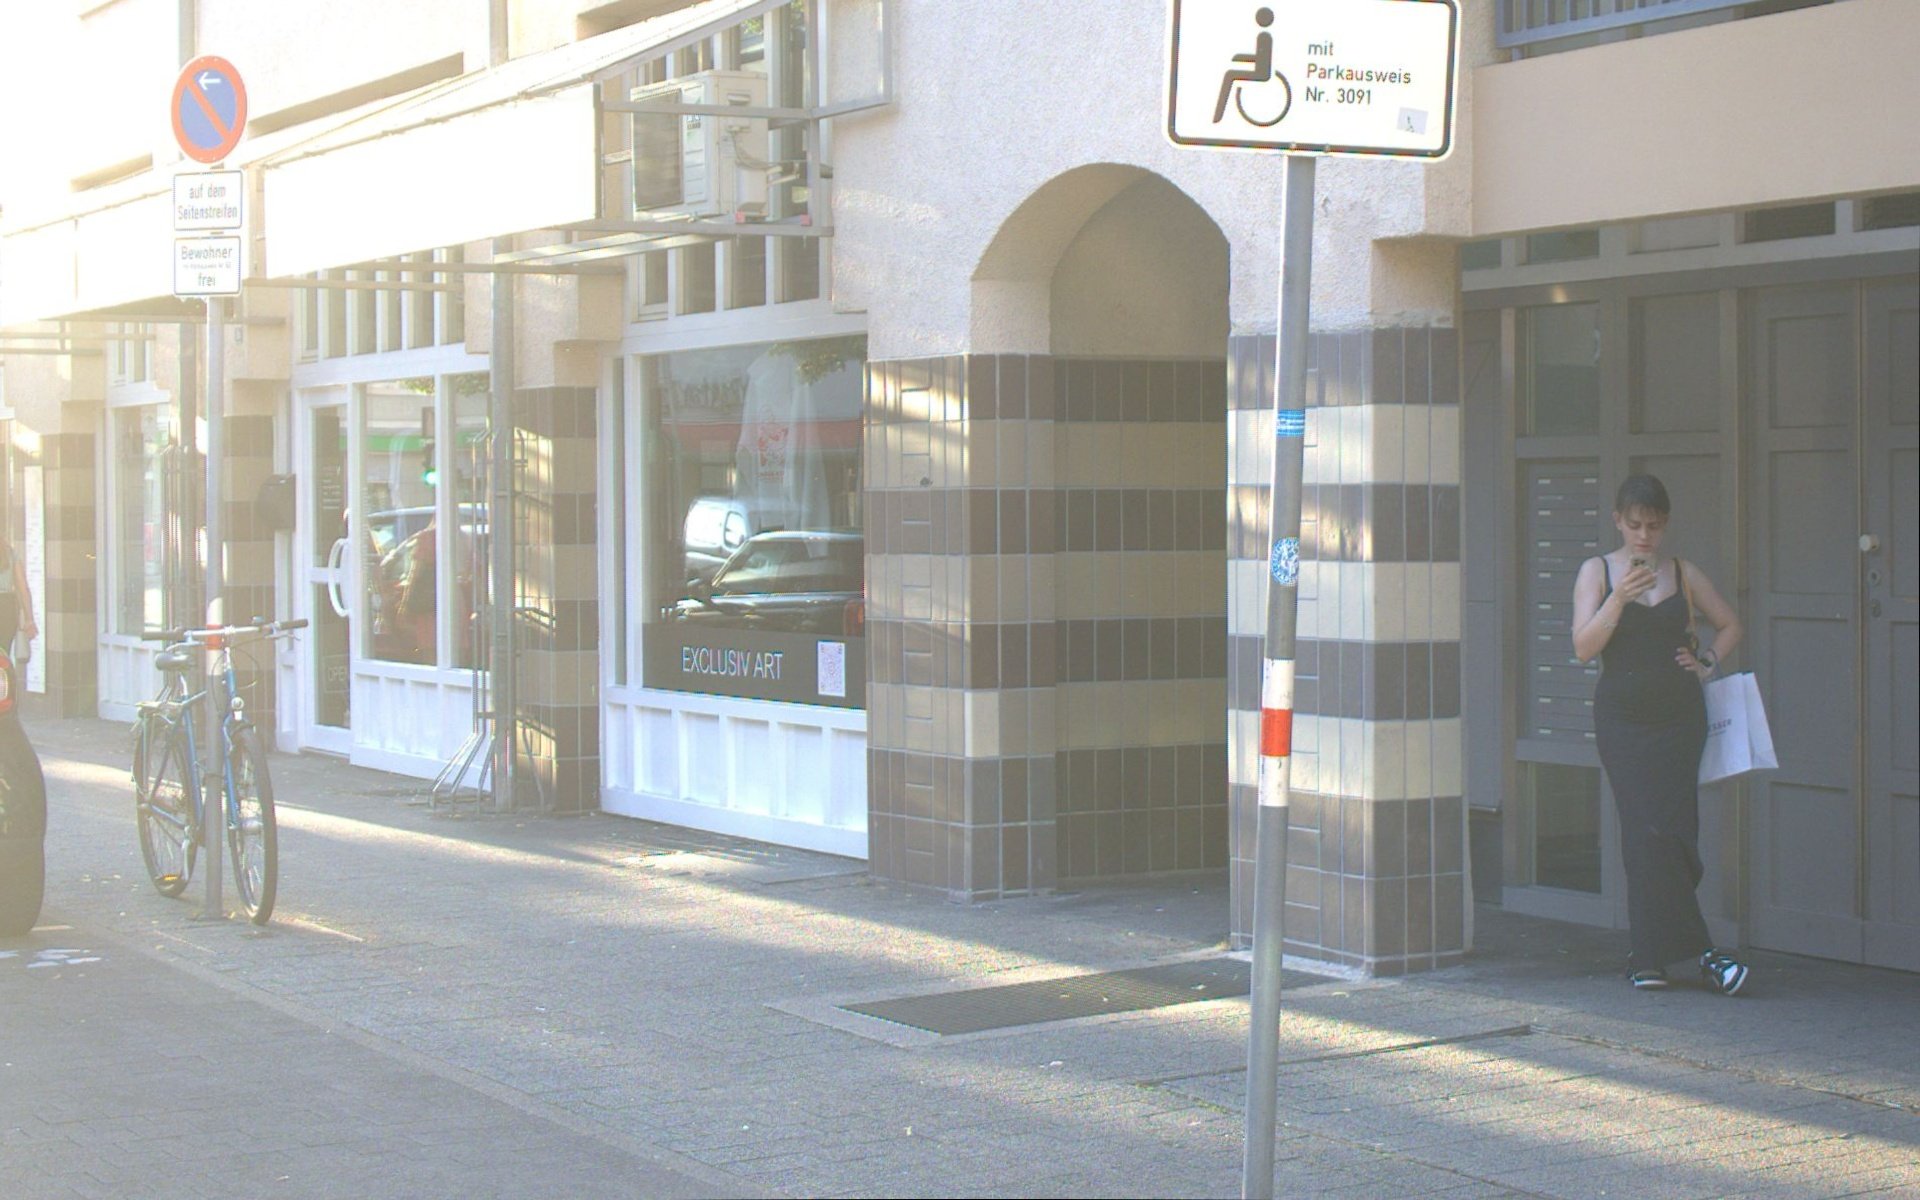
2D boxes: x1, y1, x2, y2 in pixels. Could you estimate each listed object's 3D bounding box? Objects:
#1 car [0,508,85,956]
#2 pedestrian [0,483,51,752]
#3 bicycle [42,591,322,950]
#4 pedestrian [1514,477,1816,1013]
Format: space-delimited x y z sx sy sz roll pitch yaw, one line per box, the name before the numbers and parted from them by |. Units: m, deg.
car | -4.921 0.426 13.484 1.789 1.574 3.967 -1 2 -31
pedestrian | -6.223 0.103 22.010 0.559 1.694 0.832 -2 2 -30
bicycle | -2.979 0.595 13.030 0.558 1.202 1.978 -1 2 -27
pedestrian | 2.102 0.416 10.310 0.776 1.567 0.534 0 2 -2
